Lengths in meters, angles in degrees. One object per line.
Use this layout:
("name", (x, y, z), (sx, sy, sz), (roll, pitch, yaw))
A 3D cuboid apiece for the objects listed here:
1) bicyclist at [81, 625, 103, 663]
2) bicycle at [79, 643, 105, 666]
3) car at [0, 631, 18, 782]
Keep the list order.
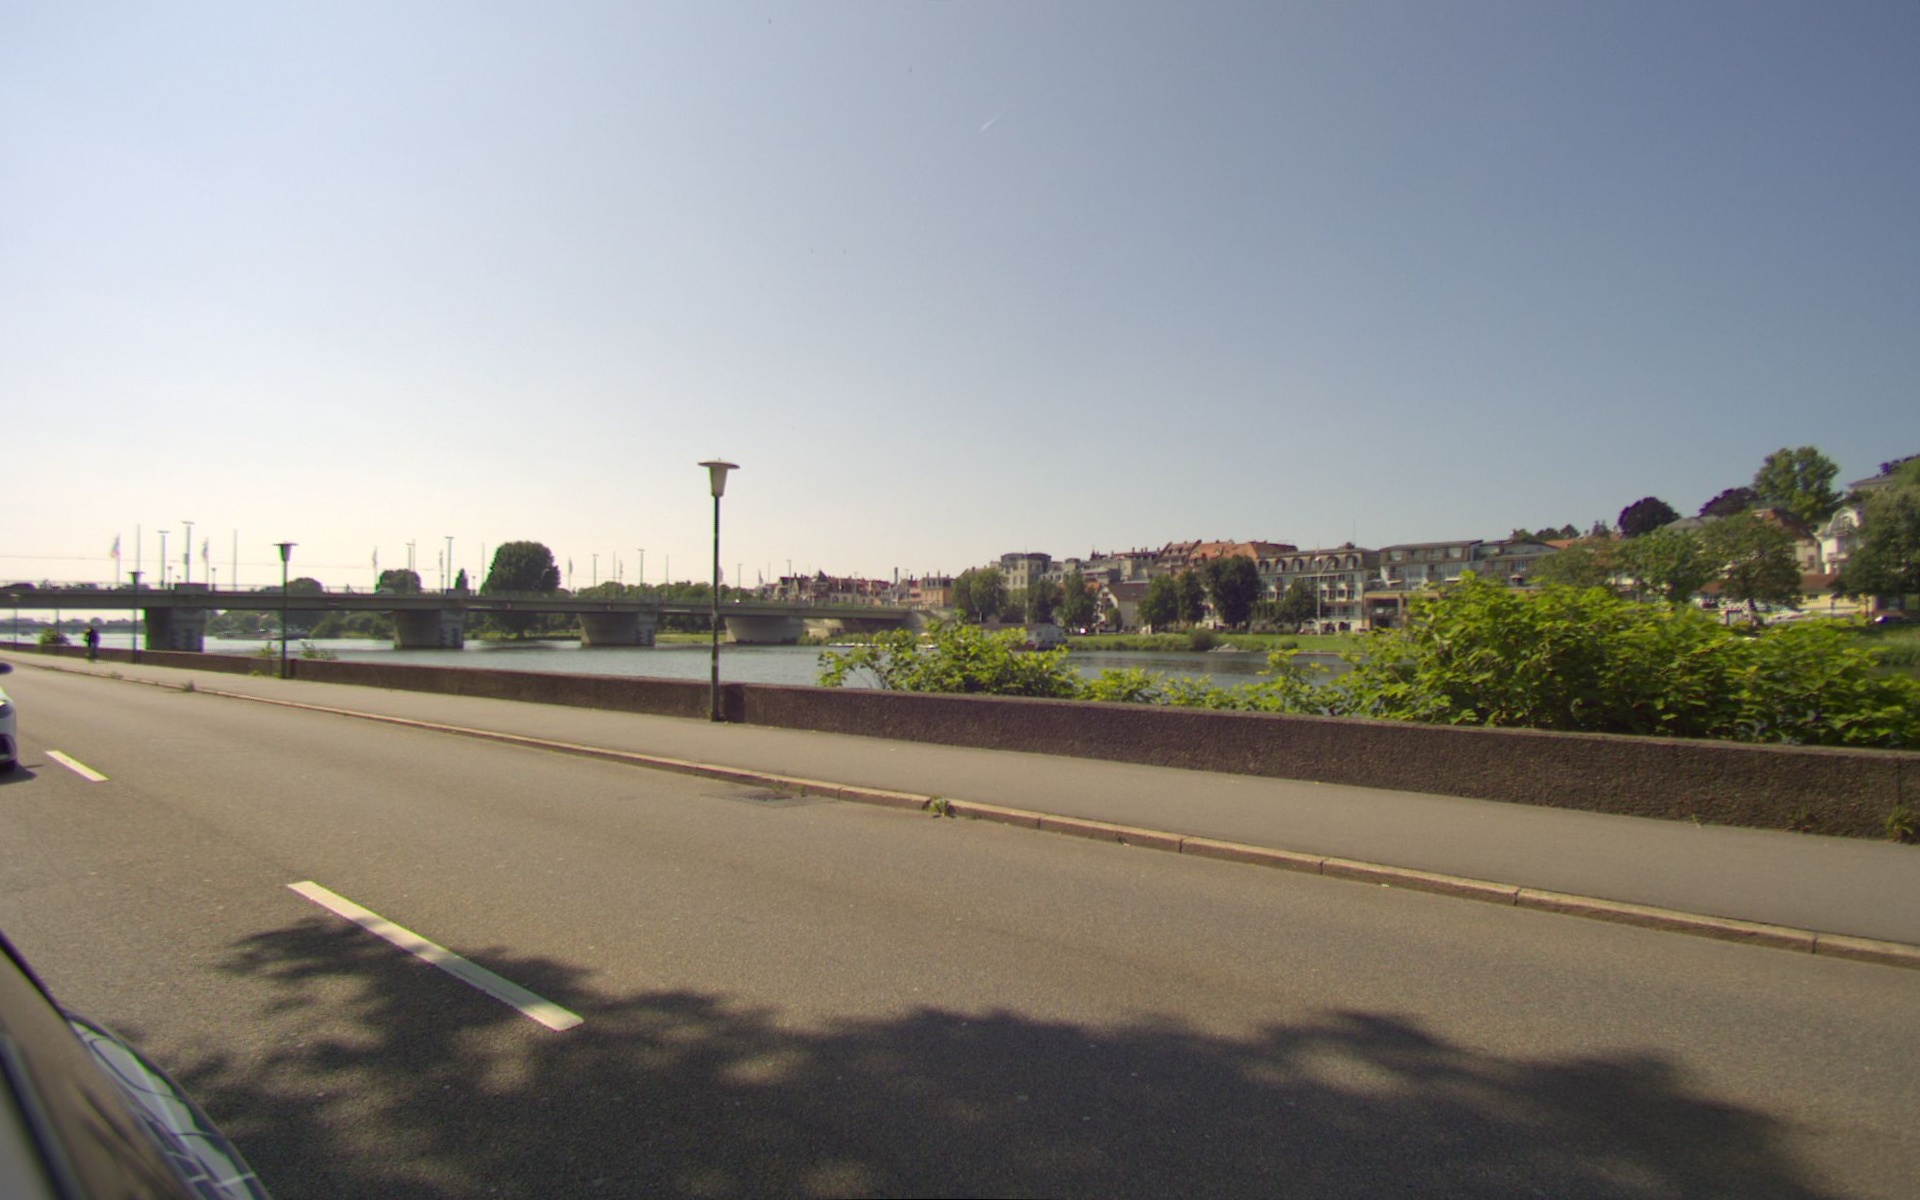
("bicyclist", (-39.605, 1.990, 46.175), (0.974, 1.715, 0.654), (-2, -2, 41))
("bicycle", (-39.541, 2.457, 46.113), (1.943, 0.990, 0.645), (-2, -2, 42))
("car", (-11.327, 1.056, 10.530), (4.550, 1.430, 1.807), (-2, -1, 41))
